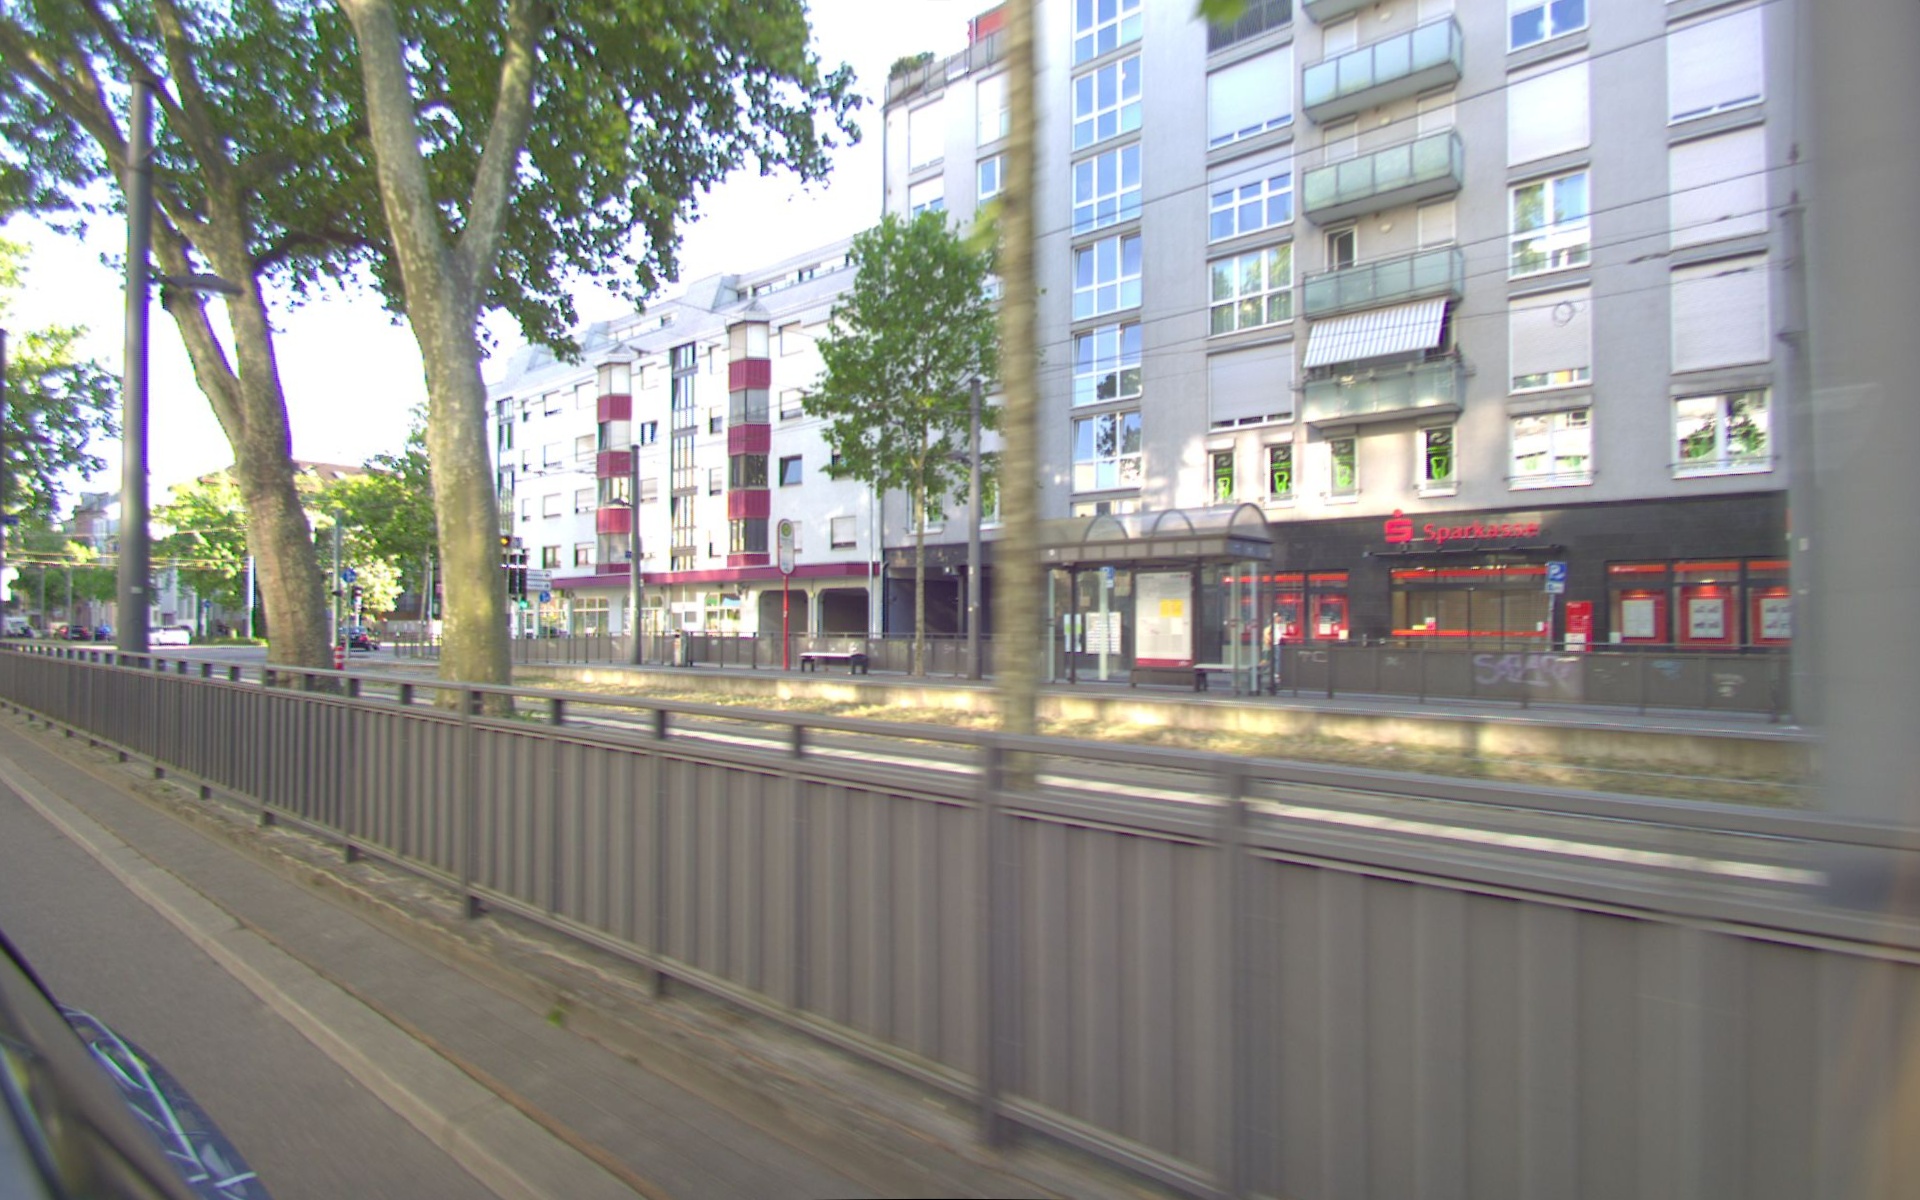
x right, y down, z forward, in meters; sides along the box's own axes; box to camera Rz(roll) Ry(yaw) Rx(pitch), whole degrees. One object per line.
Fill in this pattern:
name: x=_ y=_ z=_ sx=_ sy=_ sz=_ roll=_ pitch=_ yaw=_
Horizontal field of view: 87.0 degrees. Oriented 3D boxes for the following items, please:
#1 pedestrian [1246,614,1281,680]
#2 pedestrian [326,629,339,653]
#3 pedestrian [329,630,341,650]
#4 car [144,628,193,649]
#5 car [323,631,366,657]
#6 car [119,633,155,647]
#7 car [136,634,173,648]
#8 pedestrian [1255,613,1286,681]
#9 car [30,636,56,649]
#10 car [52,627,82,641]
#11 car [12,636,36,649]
pedestrian: x=8.388 y=1.295 z=27.946 sx=0.784 sy=1.784 sz=0.497 roll=-1 pitch=0 yaw=41
pedestrian: x=-47.395 y=3.097 z=76.463 sx=0.594 sy=1.717 sz=0.670 roll=-1 pitch=0 yaw=-11
pedestrian: x=-47.323 y=3.051 z=76.622 sx=0.582 sy=1.518 sz=0.649 roll=0 pitch=-2 yaw=-9
car: x=-56.717 y=2.737 z=72.486 sx=3.997 sy=1.475 sz=1.973 roll=-1 pitch=-2 yaw=41
car: x=-35.060 y=2.486 z=57.725 sx=1.622 sy=1.364 sz=3.913 roll=1 pitch=-2 yaw=-25
car: x=-76.540 y=3.705 z=94.098 sx=3.997 sy=1.276 sz=1.871 roll=-1 pitch=-2 yaw=41
car: x=-72.121 y=3.655 z=90.626 sx=3.997 sy=1.276 sz=1.871 roll=-1 pitch=-2 yaw=41
pedestrian: x=8.332 y=1.247 z=27.177 sx=0.628 sy=1.784 sz=0.497 roll=-1 pitch=0 yaw=41
car: x=-112.558 y=5.172 z=124.164 sx=3.997 sy=1.573 sz=1.871 roll=-1 pitch=-2 yaw=41
car: x=-98.758 y=3.707 z=111.905 sx=3.997 sy=1.490 sz=1.871 roll=-1 pitch=-2 yaw=41
car: x=-121.433 y=5.493 z=131.305 sx=3.997 sy=1.573 sz=1.871 roll=-1 pitch=-2 yaw=41
